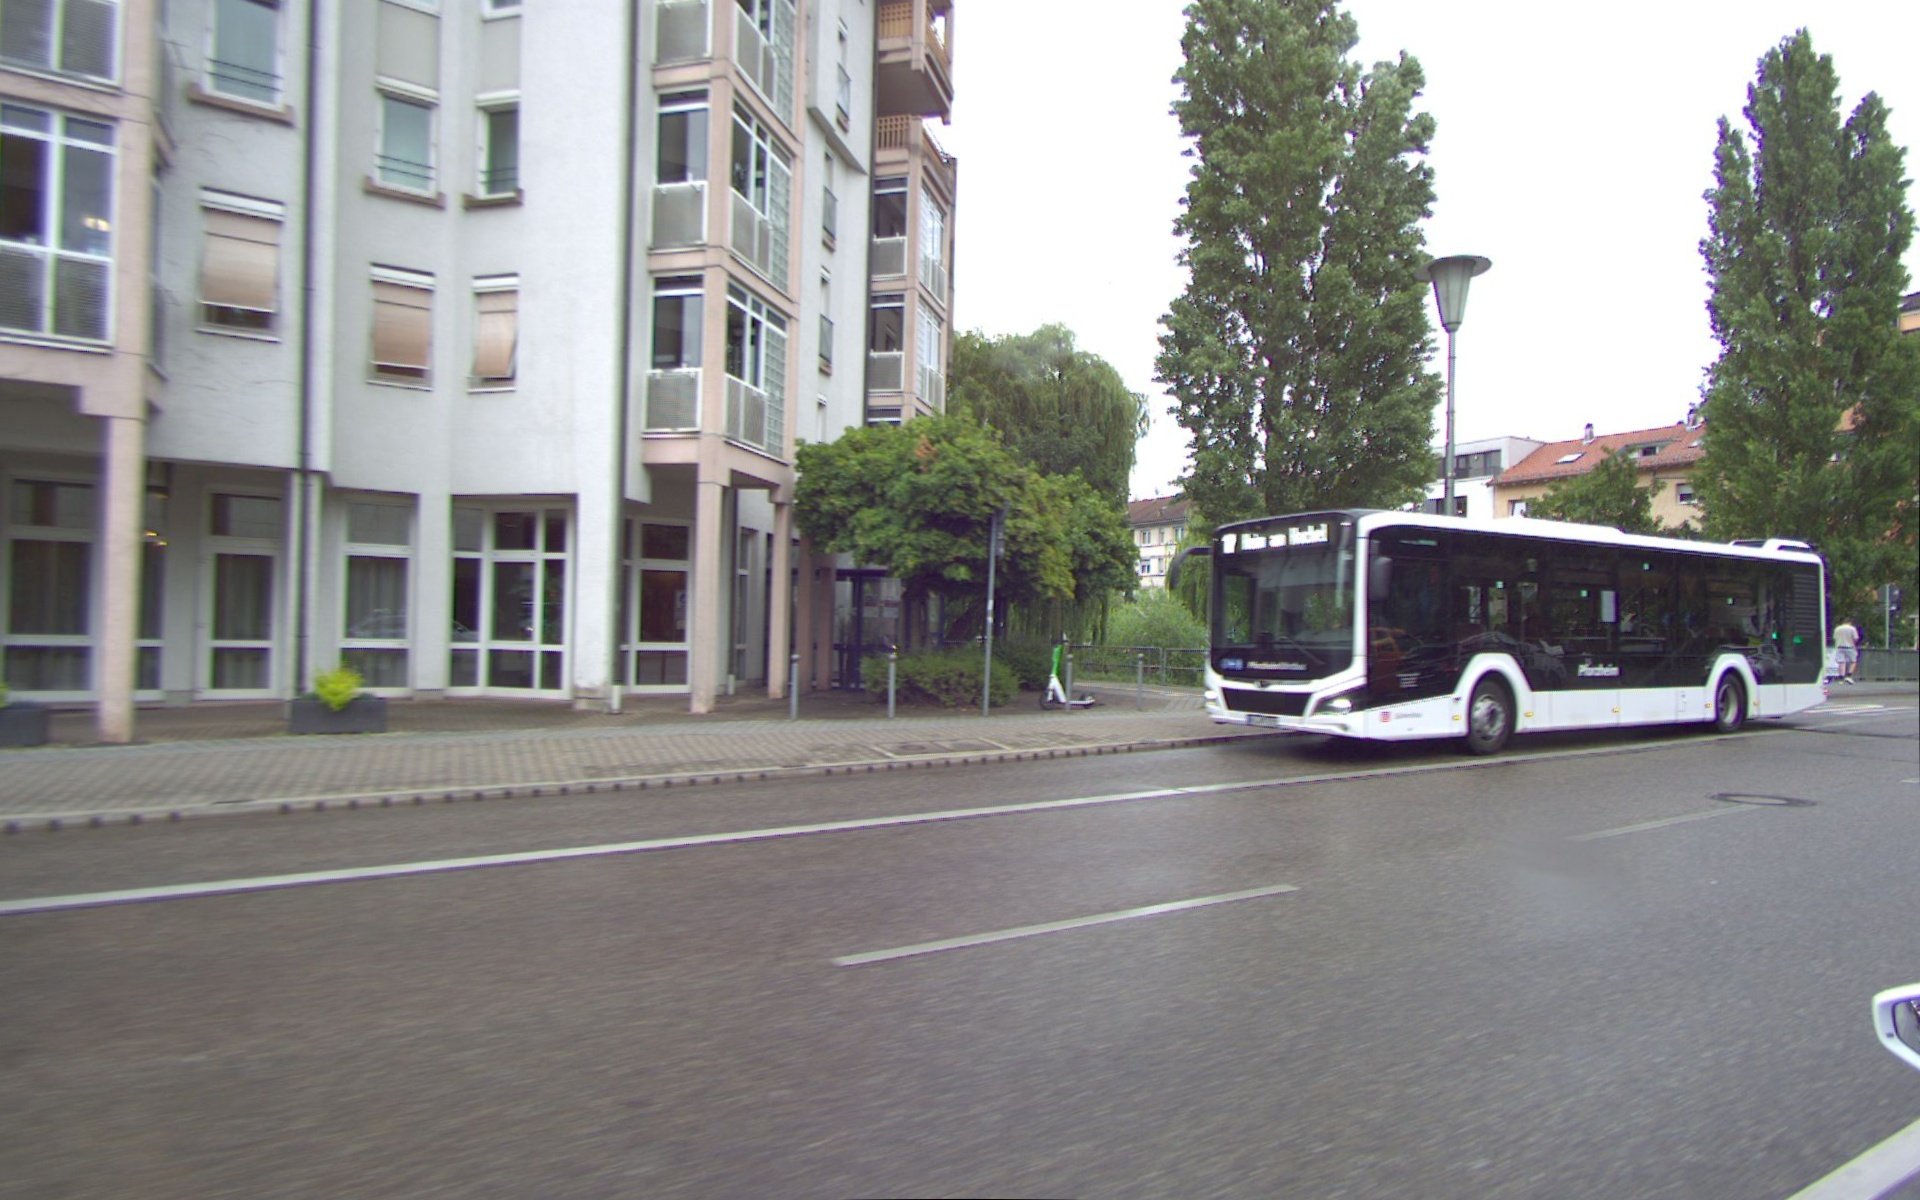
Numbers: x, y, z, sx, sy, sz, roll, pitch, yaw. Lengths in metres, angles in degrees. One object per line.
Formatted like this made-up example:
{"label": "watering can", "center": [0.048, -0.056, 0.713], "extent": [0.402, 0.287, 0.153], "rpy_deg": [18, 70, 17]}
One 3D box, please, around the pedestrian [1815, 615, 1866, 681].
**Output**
{"label": "pedestrian", "center": [24.875, 1.348, 28.374], "extent": [0.802, 1.817, 0.794], "rpy_deg": [3, 0, -27]}

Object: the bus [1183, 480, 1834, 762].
{"label": "bus", "center": [8.915, 0.308, 15.275], "extent": [12.088, 3.117, 2.732], "rpy_deg": [1, 0, -29]}

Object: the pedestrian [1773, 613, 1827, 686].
{"label": "pedestrian", "center": [21.610, 1.260, 25.847], "extent": [0.946, 1.817, 0.695], "rpy_deg": [3, 0, -27]}

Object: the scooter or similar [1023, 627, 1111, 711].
{"label": "scooter or similar", "center": [1.826, 1.142, 17.063], "extent": [1.555, 1.331, 0.479], "rpy_deg": [0, 0, -34]}
